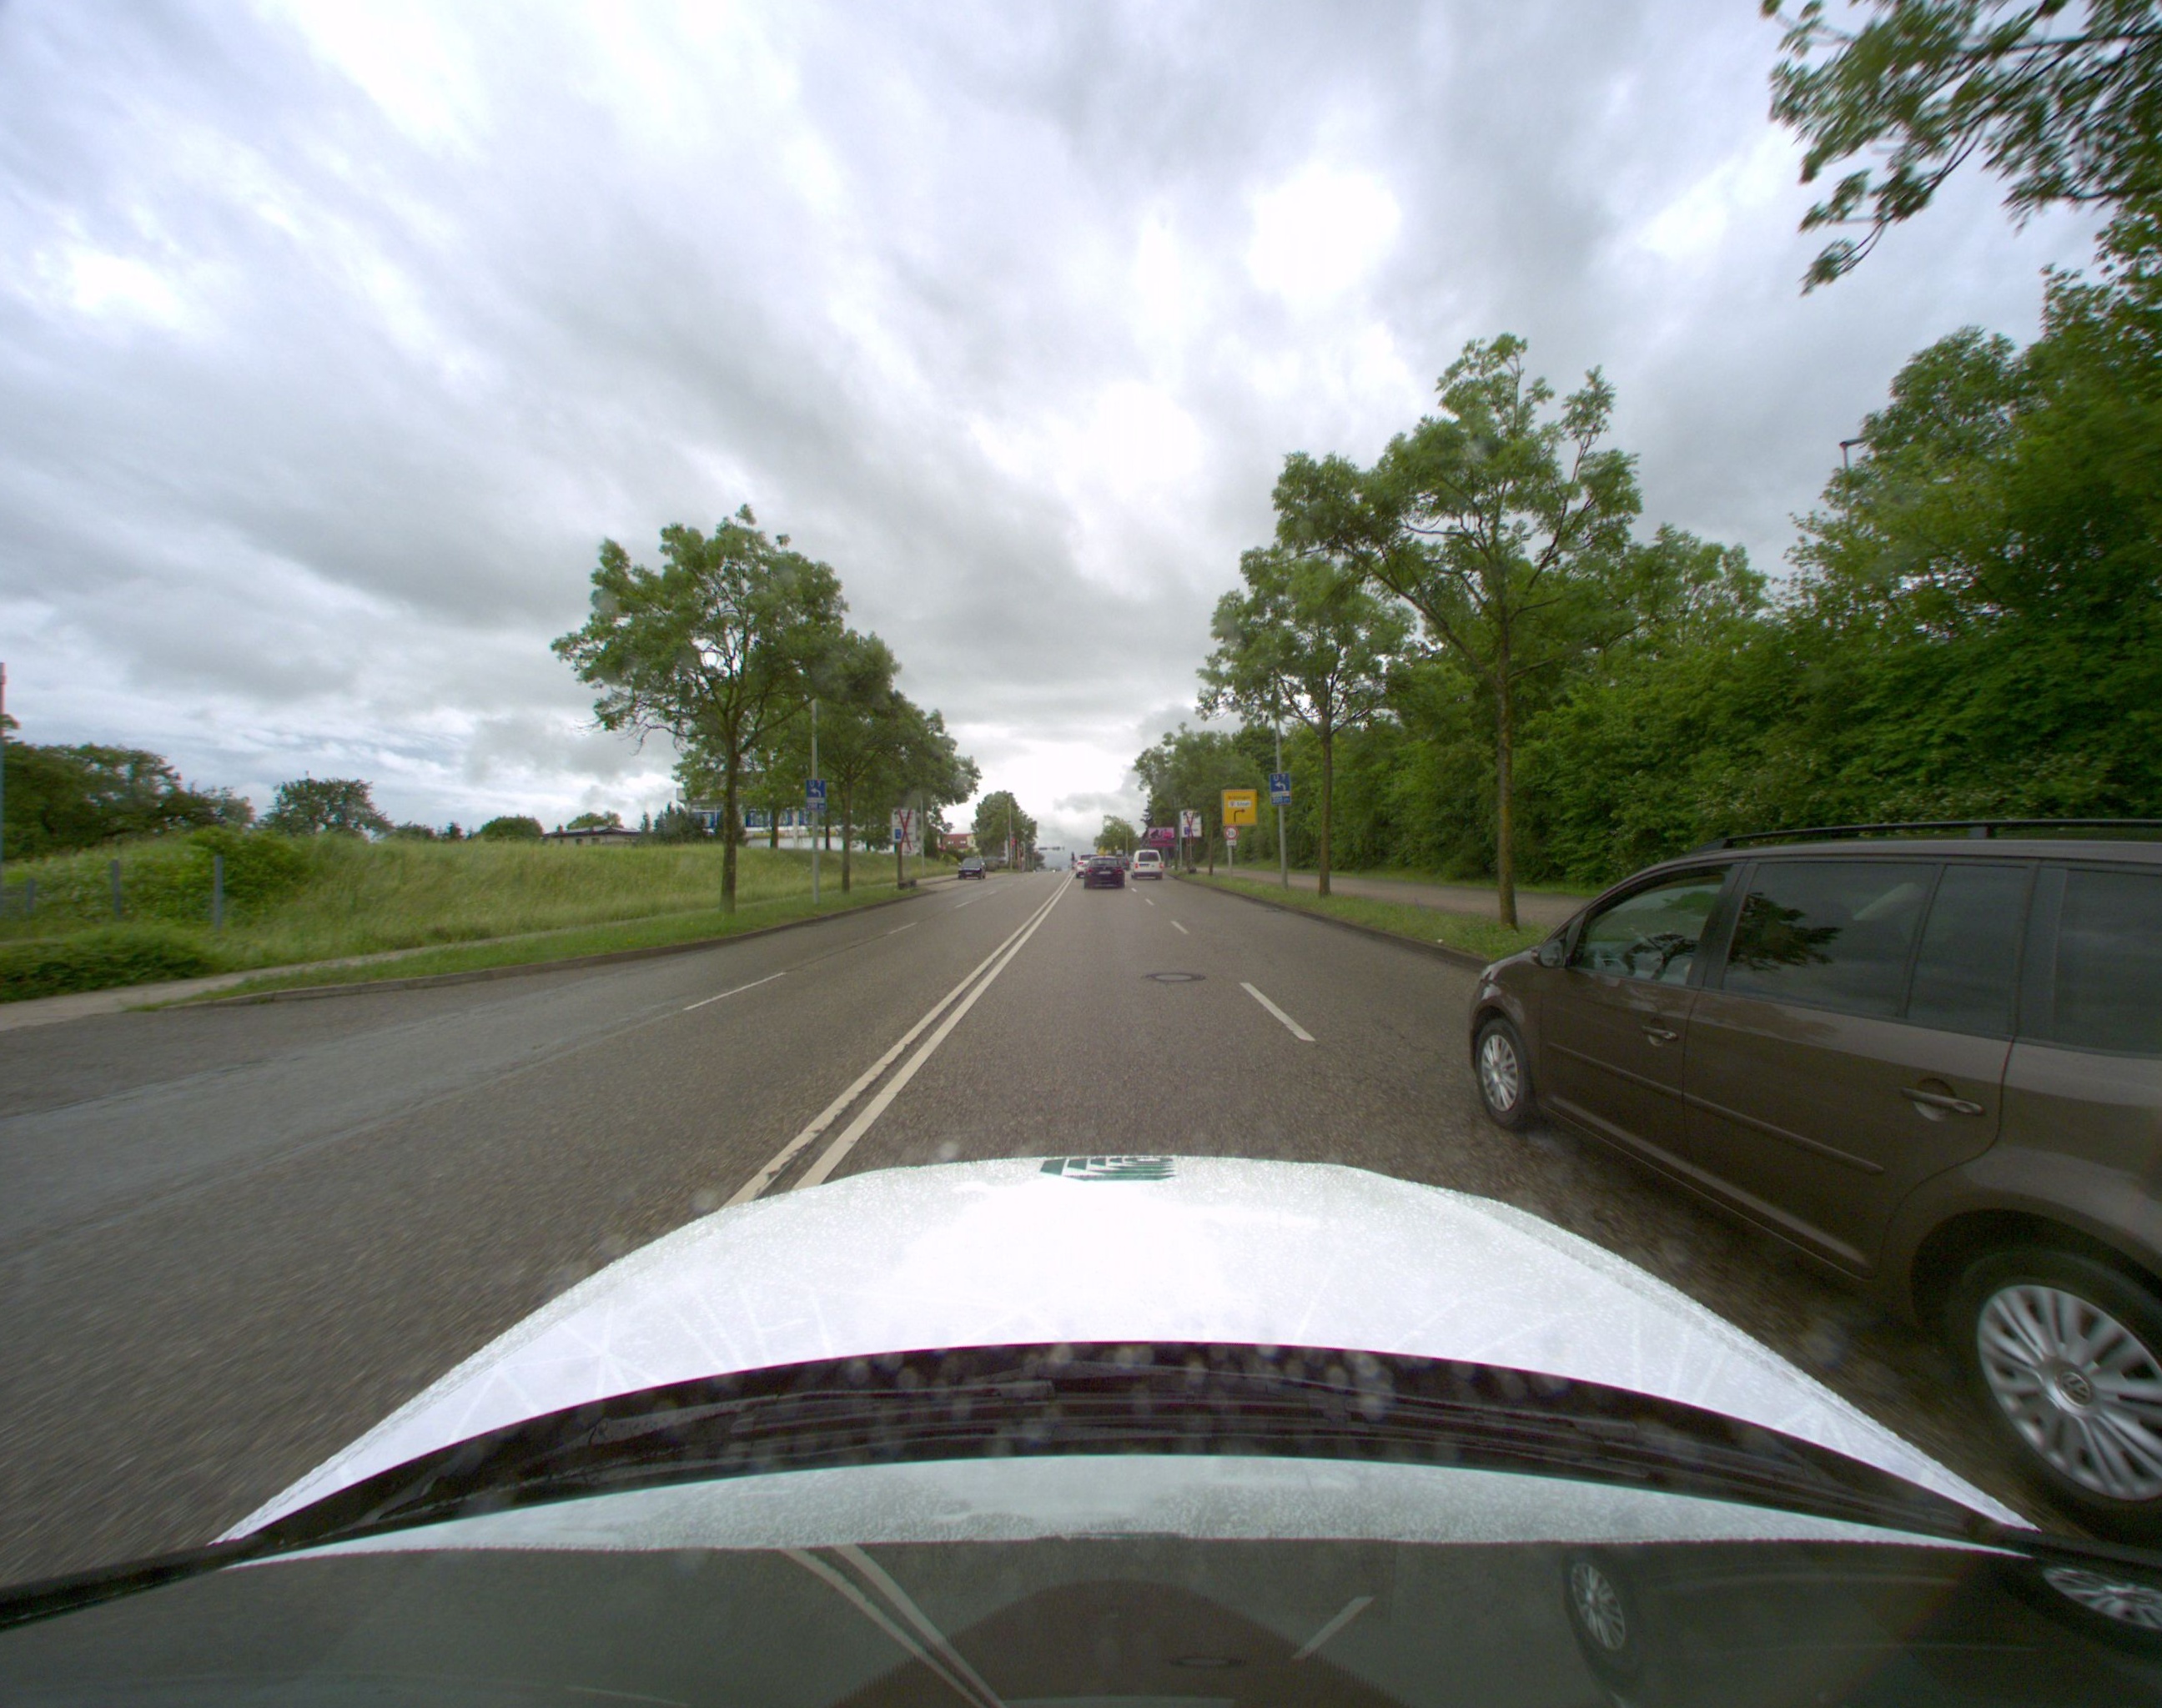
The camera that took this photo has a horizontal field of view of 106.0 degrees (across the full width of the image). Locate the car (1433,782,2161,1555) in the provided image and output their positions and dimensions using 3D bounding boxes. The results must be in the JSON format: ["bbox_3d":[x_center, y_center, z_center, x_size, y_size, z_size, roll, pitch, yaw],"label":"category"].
[{"bbox_3d":[3.116,0.650,3.242,1.708,1.596,4.131,-1,0,1],"label":"car"}]

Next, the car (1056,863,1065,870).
[{"bbox_3d":[-4.586,2.731,180.326,1.790,1.584,4.196,-3,0,-1],"label":"car"}]

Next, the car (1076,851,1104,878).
[{"bbox_3d":[0.641,0.684,55.134,1.721,1.711,3.385,0,0,3],"label":"car"}]

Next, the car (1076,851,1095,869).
[{"bbox_3d":[0.436,0.572,81.027,1.751,1.708,3.947,-2,0,2],"label":"car"}]

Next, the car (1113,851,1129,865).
[{"bbox_3d":[4.276,0.439,88.205,1.594,1.372,3.681,-2,0,1],"label":"car"}]

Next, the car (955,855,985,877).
[{"bbox_3d":[-8.728,0.935,64.420,1.720,1.668,4.487,0,0,0],"label":"car"}]

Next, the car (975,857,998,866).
[{"bbox_3d":[-15.736,1.231,135.959,3.823,1.482,1.737,-1,-1,-8],"label":"car"}]

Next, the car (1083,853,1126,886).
[{"bbox_3d":[1.127,0.686,37.808,1.847,1.419,3.959,0,0,2],"label":"car"}]

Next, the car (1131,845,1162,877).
[{"bbox_3d":[4.001,0.410,50.275,1.735,1.869,3.947,0,0,2],"label":"car"}]
